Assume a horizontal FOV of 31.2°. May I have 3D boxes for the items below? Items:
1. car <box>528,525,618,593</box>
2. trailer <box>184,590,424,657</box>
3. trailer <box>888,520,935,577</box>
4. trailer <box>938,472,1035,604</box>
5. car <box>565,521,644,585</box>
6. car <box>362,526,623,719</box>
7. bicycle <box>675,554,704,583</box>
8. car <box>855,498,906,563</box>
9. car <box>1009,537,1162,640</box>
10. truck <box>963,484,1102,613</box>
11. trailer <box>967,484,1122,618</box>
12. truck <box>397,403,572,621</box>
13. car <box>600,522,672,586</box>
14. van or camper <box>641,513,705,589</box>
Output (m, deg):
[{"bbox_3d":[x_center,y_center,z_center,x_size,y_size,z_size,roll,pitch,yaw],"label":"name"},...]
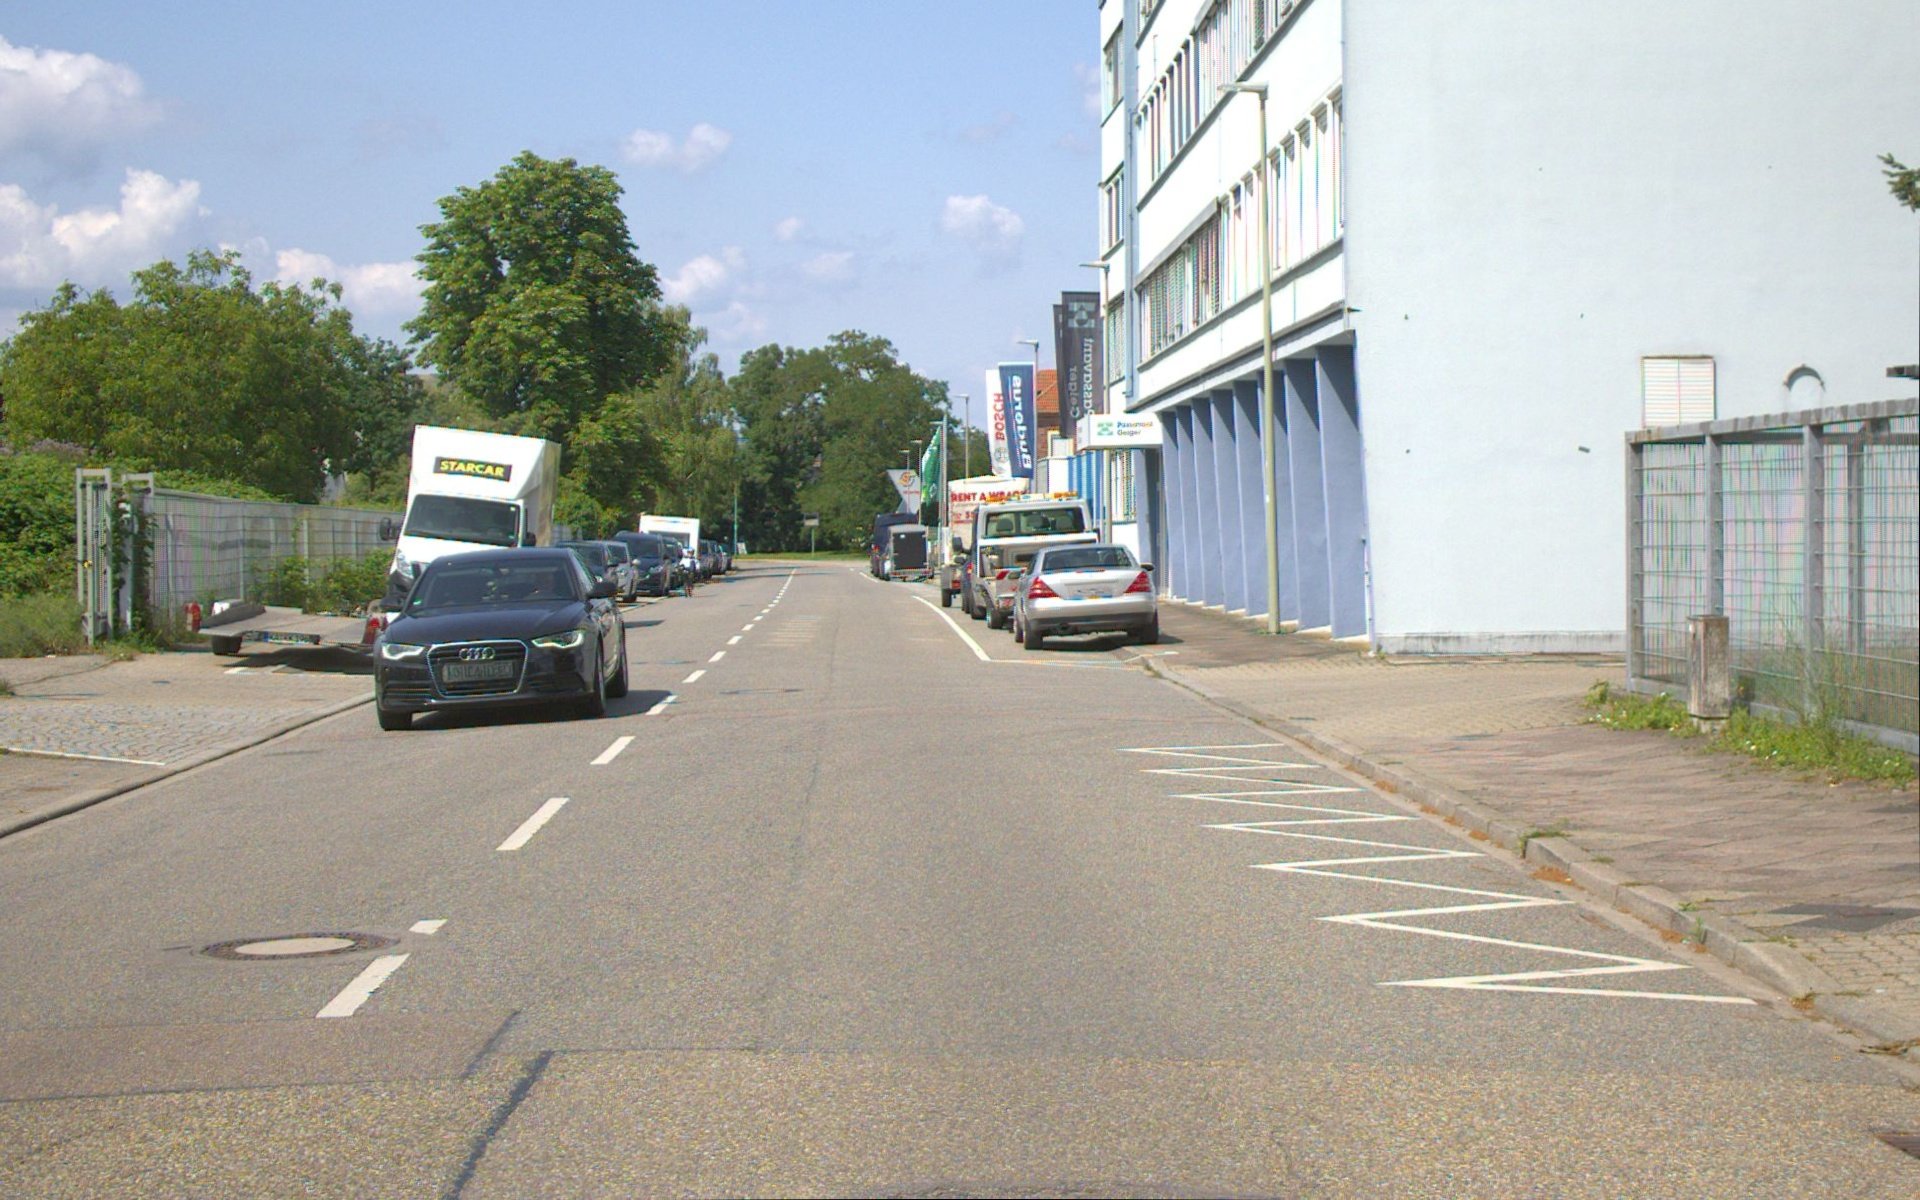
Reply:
[{"bbox_3d":[-8.825,-0.960,78.690,1.568,1.394,3.799,4,1,-1],"label":"car"},{"bbox_3d":[-7.832,0.263,41.457,2.235,0.550,4.445,4,1,-3],"label":"trailer"},{"bbox_3d":[-1.763,-1.871,124.548,1.601,2.030,2.741,1,1,-3],"label":"trailer"},{"bbox_3d":[0.532,-1.251,69.224,1.869,2.544,5.072,0,1,0],"label":"trailer"},{"bbox_3d":[-8.600,-1.151,83.400,1.615,1.478,3.710,2,1,-2],"label":"car"},{"bbox_3d":[-3.958,0.137,29.720,1.785,1.433,4.310,-4,1,-3],"label":"car"},{"bbox_3d":[-7.179,-0.848,91.385,0.587,0.739,2.125,0,1,0],"label":"bicycle"},{"bbox_3d":[-3.466,-3.009,148.687,1.937,2.739,6.155,0,1,-4],"label":"car"},{"bbox_3d":[1.577,-0.175,44.487,1.647,1.242,4.001,0,1,-3],"label":"car"},{"bbox_3d":[1.146,-0.854,56.651,1.964,2.028,4.735,0,1,-3],"label":"truck"},{"bbox_3d":[1.254,-0.776,53.420,1.973,1.964,5.767,0,1,-3],"label":"trailer"},{"bbox_3d":[-7.712,-1.426,56.387,2.250,3.350,6.908,0,1,-3],"label":"truck"},{"bbox_3d":[-9.092,-1.300,96.711,1.801,1.744,4.714,0,1,-3],"label":"car"},{"bbox_3d":[-11.279,-1.935,135.590,2.262,2.794,6.835,3,1,-4],"label":"van or camper"}]
